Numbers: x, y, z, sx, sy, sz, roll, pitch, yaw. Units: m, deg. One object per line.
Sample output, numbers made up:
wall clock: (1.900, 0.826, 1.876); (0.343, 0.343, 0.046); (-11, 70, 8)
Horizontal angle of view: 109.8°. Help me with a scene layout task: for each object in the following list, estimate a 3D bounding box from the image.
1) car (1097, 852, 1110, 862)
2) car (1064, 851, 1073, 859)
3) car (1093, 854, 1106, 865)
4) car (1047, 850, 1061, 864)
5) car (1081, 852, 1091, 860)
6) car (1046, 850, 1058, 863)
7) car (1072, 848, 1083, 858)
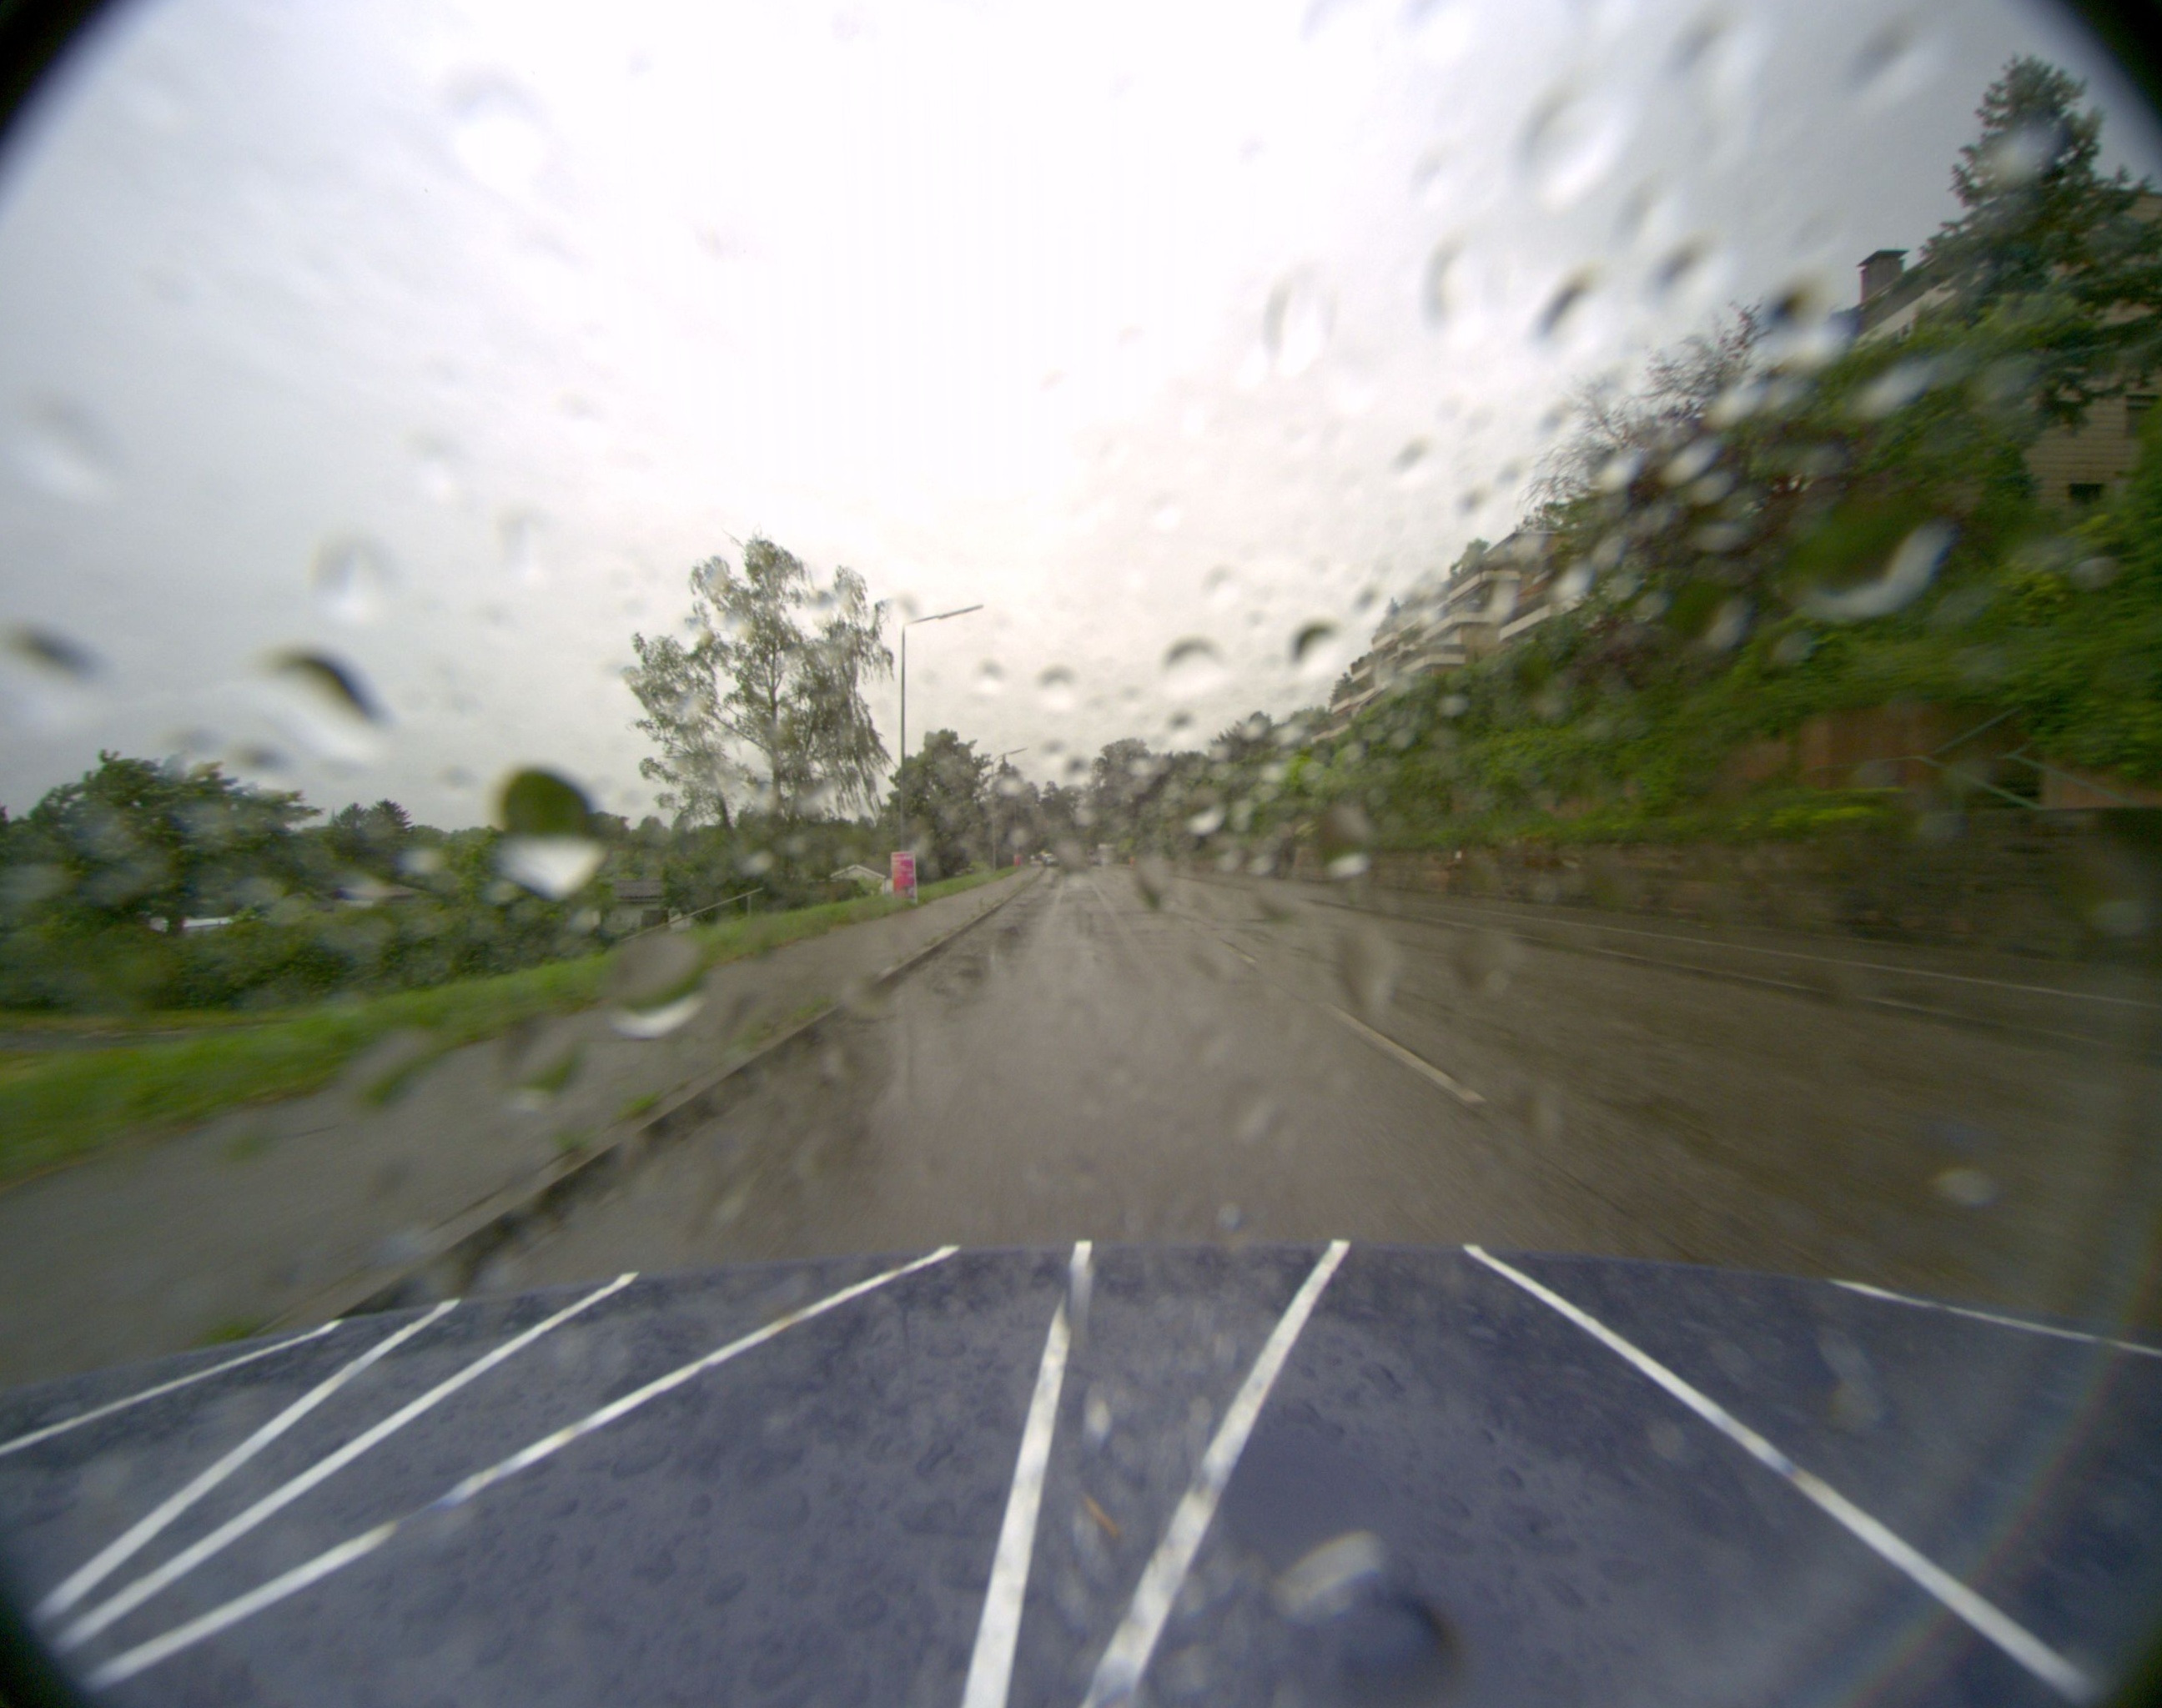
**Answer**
car: (3.554, 0.462, 121.669); (1.853, 1.583, 3.704); (-2, 0, -2)
car: (-2.828, 0.186, 165.038); (1.853, 1.583, 3.704); (-2, 0, -2)
car: (2.568, 0.791, 106.297); (1.597, 1.433, 3.704); (0, 0, -2)
car: (-3.956, 0.515, 112.577); (1.999, 2.001, 4.000); (-2, -1, -1)
car: (1.089, 0.345, 157.072); (1.853, 1.583, 3.704); (-2, 0, -2)
car: (-5.047, 0.512, 134.051); (1.999, 2.168, 4.000); (-2, 0, -1)
car: (-0.863, -0.279, 178.802); (1.855, 2.137, 3.701); (-2, 0, -12)
